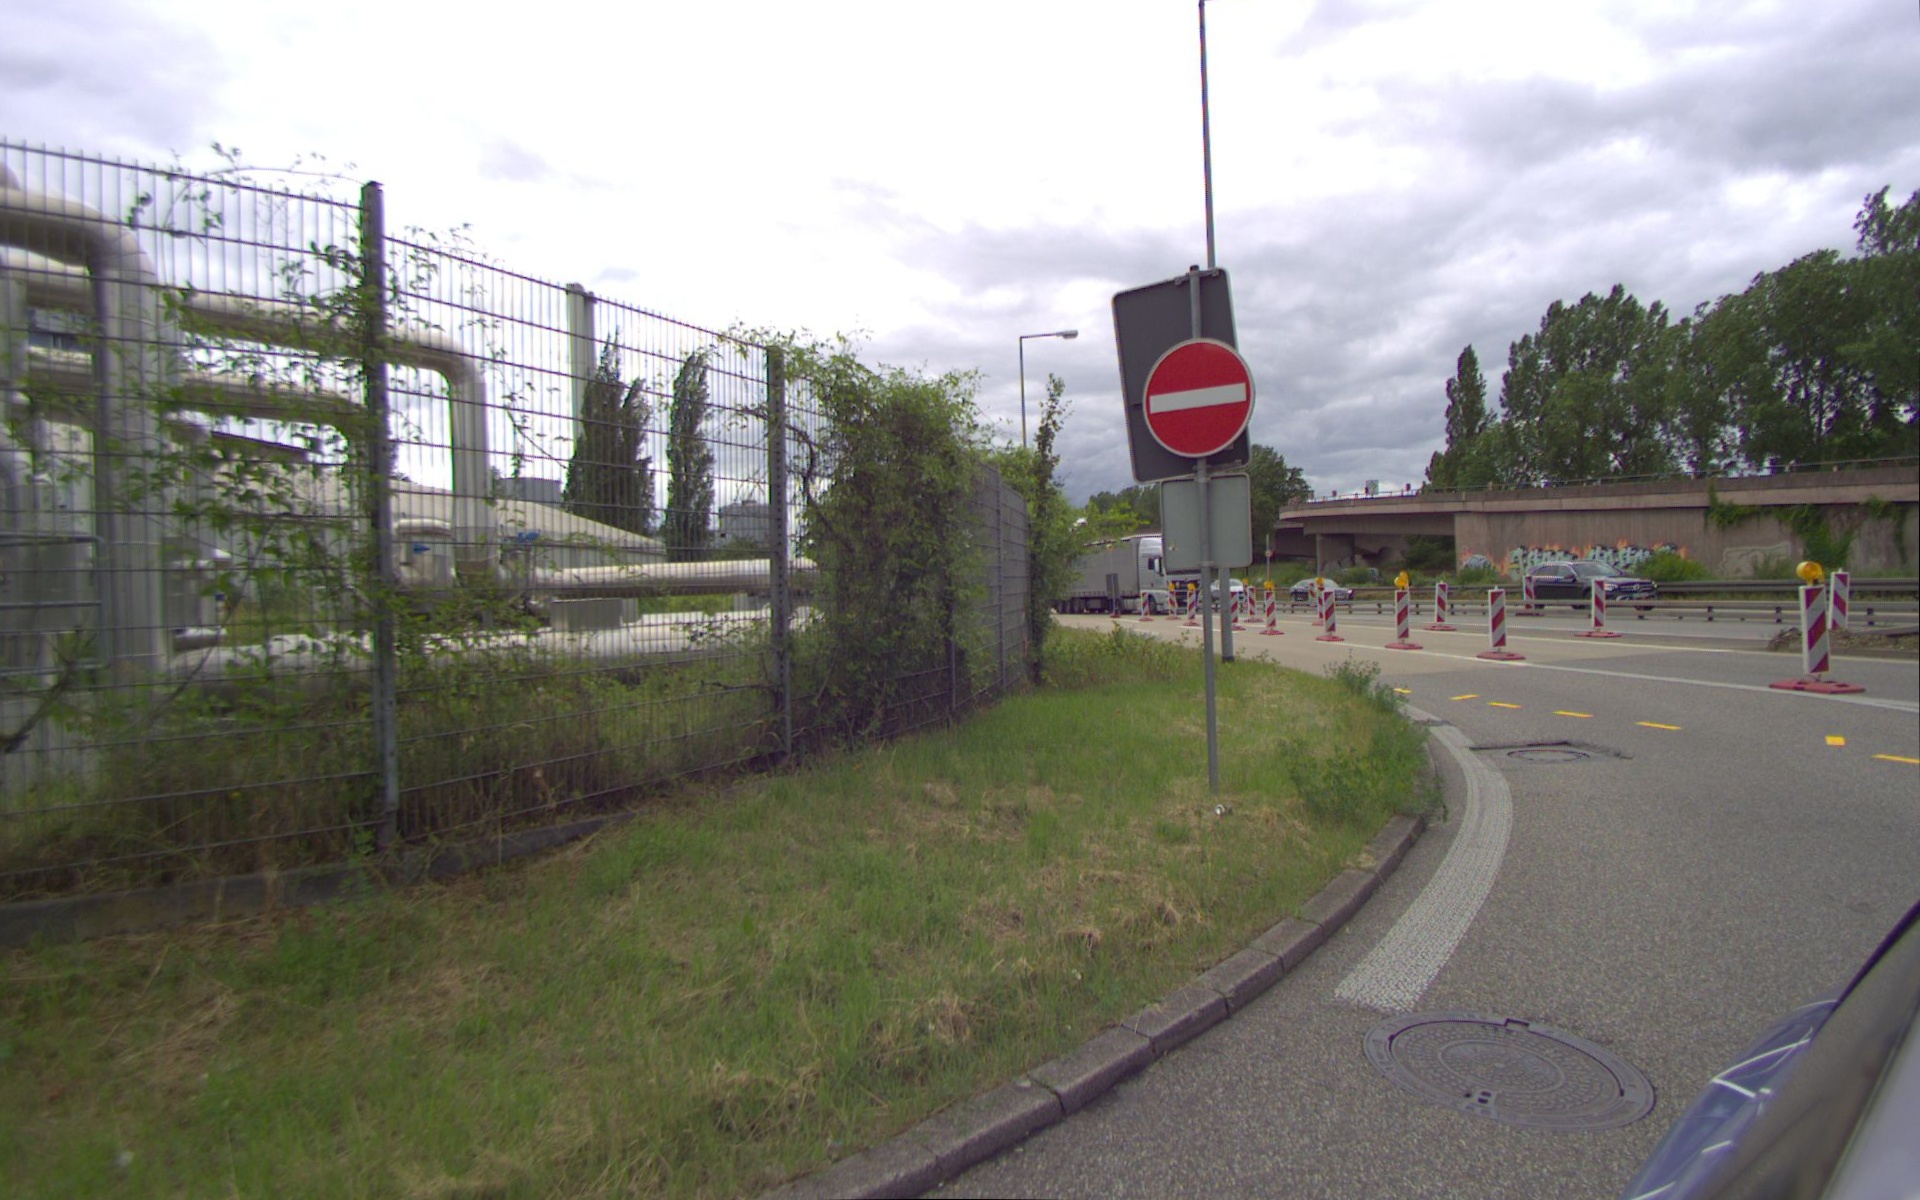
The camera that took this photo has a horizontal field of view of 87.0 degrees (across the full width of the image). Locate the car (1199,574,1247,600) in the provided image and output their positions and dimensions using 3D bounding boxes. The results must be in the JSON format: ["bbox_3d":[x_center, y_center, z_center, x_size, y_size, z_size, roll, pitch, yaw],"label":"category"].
[{"bbox_3d":[16.829,-0.872,64.963,1.768,1.530,4.004,-2,2,-4],"label":"car"}]

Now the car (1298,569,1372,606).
[{"bbox_3d":[18.979,-0.648,51.372,1.898,1.724,4.005,-2,1,-6],"label":"car"}]

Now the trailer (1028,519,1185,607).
[{"bbox_3d":[7.970,-1.885,58.331,3.101,4.377,13.290,-4,1,-18],"label":"trailer"}]

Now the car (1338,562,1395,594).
[{"bbox_3d":[28.194,-1.519,70.324,1.961,2.039,4.289,-3,1,-3],"label":"car"}]

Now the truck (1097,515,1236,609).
[{"bbox_3d":[10.247,-1.788,51.419,3.099,4.181,8.157,-5,1,-17],"label":"truck"}]

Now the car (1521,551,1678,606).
[{"bbox_3d":[20.127,-0.689,32.098,1.942,1.530,4.297,-3,1,-5],"label":"car"}]

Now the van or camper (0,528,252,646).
[{"bbox_3d":[-21.202,-0.285,24.787,6.016,2.580,2.573,-2,1,4],"label":"van or camper"}]
